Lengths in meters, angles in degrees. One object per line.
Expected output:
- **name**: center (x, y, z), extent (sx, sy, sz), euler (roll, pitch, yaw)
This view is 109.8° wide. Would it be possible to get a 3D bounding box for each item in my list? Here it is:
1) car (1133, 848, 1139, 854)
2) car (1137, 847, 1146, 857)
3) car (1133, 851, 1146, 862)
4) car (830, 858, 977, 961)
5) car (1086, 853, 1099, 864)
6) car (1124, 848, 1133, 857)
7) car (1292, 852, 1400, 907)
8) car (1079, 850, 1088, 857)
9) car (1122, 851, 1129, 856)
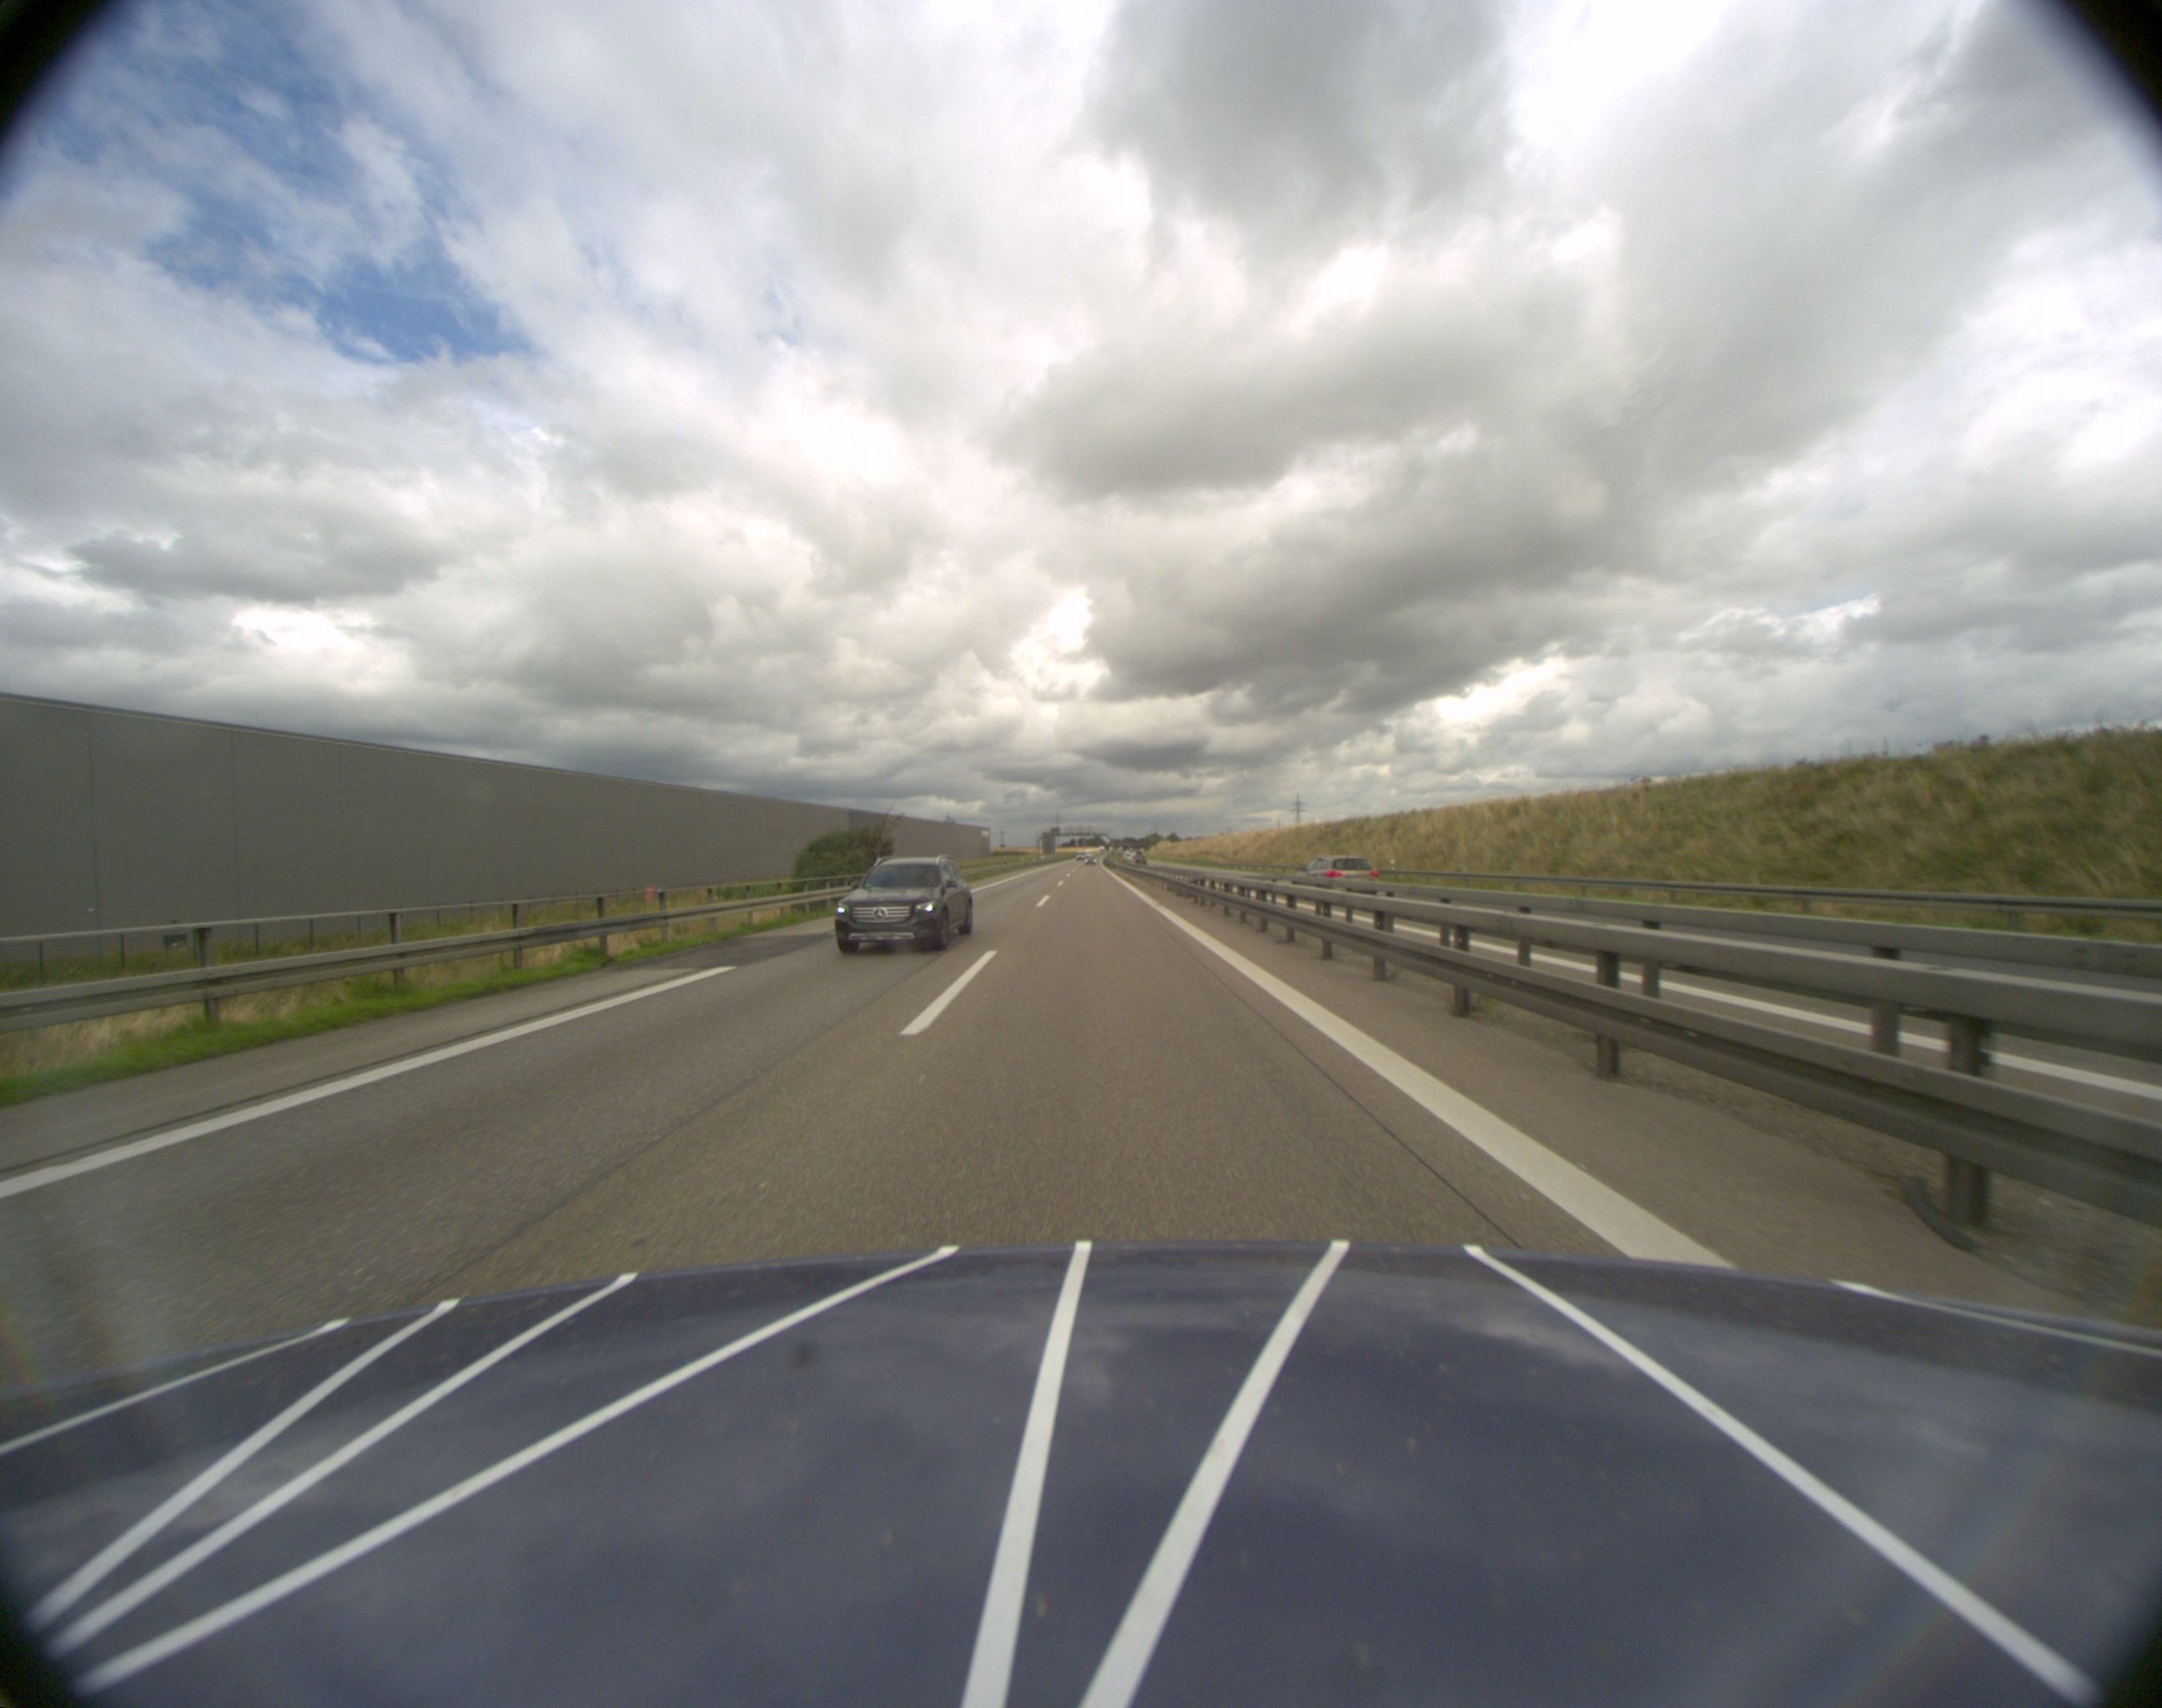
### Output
- **car**: center (18.618, -0.924, 258.382), extent (1.998, 2.002, 4.708), euler (0, 0, 4)
- **car**: center (14.410, -0.530, 181.398), extent (1.998, 2.229, 5.718), euler (-1, 1, 1)
- **car**: center (9.455, 0.375, 122.370), extent (1.846, 1.567, 3.999), euler (-1, 1, 1)
- **car**: center (-3.222, 0.922, 14.713), extent (1.838, 1.600, 4.359), euler (0, 1, 0)
- **car**: center (1.877, 0.732, 126.765), extent (1.998, 1.696, 4.662), euler (-2, 0, 1)
- **car**: center (10.570, -0.238, 168.428), extent (1.832, 1.874, 5.418), euler (-1, 1, 1)
- **car**: center (8.488, 0.755, 24.786), extent (1.911, 1.504, 4.728), euler (-1, 1, 1)
- **car**: center (0.731, -0.040, 202.581), extent (1.998, 1.812, 4.343), euler (0, 1, 4)
- **car**: center (12.234, -0.171, 208.182), extent (1.815, 1.394, 4.406), euler (-1, 1, 4)
